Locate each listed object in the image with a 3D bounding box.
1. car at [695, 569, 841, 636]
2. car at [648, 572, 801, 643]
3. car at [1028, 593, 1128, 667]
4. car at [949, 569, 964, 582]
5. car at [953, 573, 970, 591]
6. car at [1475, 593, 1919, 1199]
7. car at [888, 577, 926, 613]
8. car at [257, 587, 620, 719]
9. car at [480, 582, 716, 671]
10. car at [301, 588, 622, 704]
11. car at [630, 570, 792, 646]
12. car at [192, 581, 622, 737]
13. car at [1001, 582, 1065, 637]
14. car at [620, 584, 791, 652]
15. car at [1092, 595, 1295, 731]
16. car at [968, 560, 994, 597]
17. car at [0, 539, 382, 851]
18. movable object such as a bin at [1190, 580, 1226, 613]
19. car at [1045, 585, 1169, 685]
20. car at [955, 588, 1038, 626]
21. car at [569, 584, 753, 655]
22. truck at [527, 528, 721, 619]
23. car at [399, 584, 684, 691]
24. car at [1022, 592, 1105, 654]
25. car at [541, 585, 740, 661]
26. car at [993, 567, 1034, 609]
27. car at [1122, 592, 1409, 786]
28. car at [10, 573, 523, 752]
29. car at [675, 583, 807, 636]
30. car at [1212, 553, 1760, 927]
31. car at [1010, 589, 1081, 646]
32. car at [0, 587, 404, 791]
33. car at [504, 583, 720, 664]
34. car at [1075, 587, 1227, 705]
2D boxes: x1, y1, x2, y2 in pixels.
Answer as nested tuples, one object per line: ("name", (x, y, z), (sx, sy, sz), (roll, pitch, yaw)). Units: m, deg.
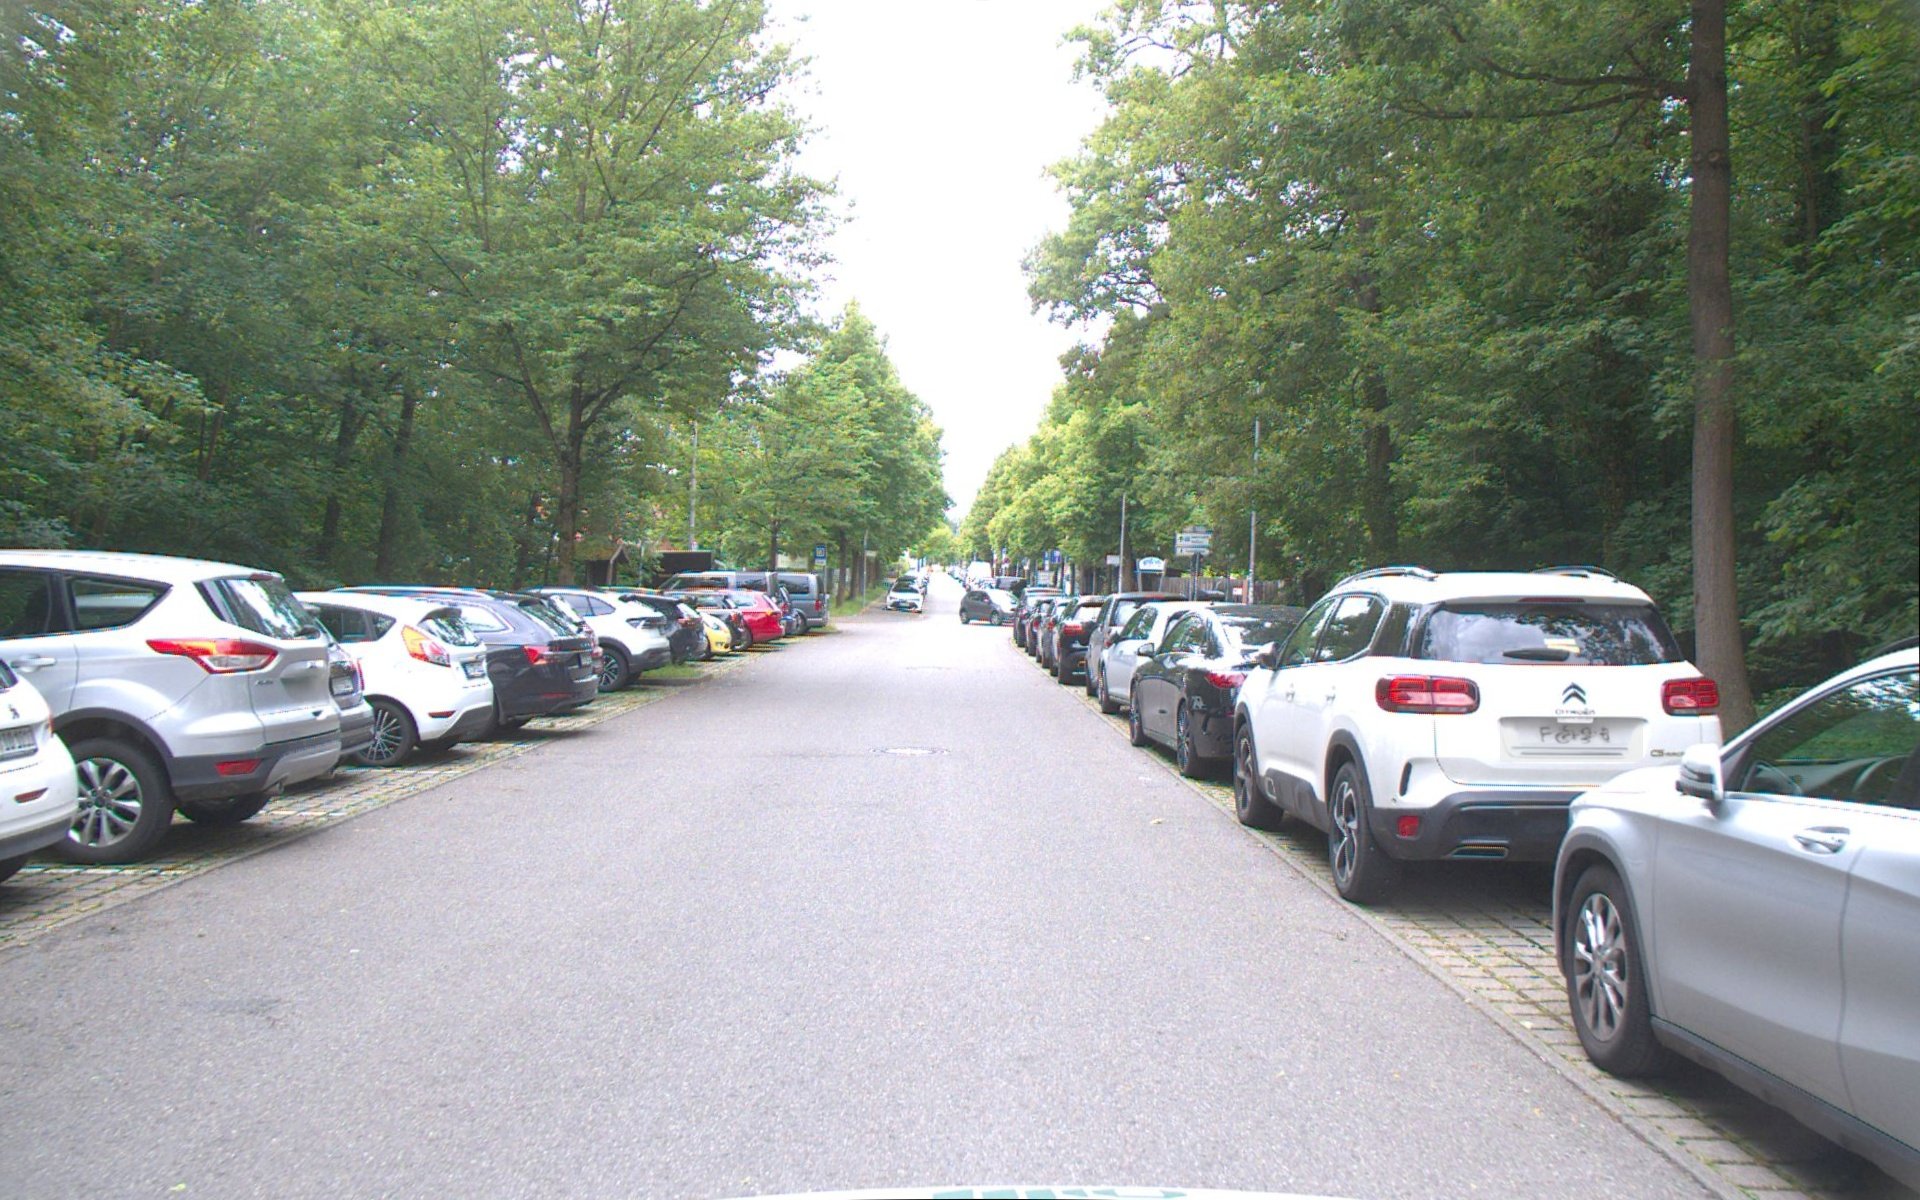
("car", (-6.064, 0.093, 52.604), (4.412, 2.013, 1.890), (1, -1, -2))
("car", (-6.397, 0.193, 45.218), (3.907, 1.796, 1.823), (2, 0, -2))
("car", (2.475, 0.595, 35.572), (1.701, 1.457, 4.501), (1, 0, -1))
("car", (-0.476, -3.555, 235.893), (1.858, 1.736, 4.065), (1, 0, 3))
("car", (0.191, -2.223, 202.454), (1.952, 2.049, 4.001), (1, 0, 3))
("car", (2.957, 0.753, 4.345), (1.701, 1.505, 4.769), (1, 0, 0))
("car", (-2.638, -0.263, 81.719), (1.730, 1.623, 4.214), (4, 1, -3))
("car", (-6.353, 0.619, 20.427), (3.905, 1.460, 1.677), (1, 0, 1))
("car", (-6.574, 0.471, 30.304), (3.906, 1.463, 1.715), (2, 0, -1))
("car", (-6.853, 0.607, 23.013), (3.905, 1.460, 1.702), (1, 0, 1))
("car", (-6.396, 0.196, 42.782), (3.906, 1.895, 1.813), (0, 0, -1))
("car", (-5.705, 0.581, 17.362), (3.905, 1.460, 1.677), (1, 0, 1))
("car", (2.286, 0.282, 52.793), (1.701, 1.662, 4.374), (1, 0, -1))
("car", (-6.175, 0.417, 40.384), (3.907, 1.501, 1.779), (2, 0, -3))
("car", (2.747, 0.691, 20.339), (1.701, 1.450, 4.152), (1, 0, -3))
("car", (1.832, -1.866, 142.133), (2.139, 3.068, 4.897), (1, 1, 1))
("car", (-5.717, 0.504, 9.847), (3.907, 1.691, 1.814), (0, 0, -2))
("movable object such as a bin", (11.245, -0.175, 74.929), (1.276, 1.468, 1.061), (2, -1, -44))
("car", (2.538, 0.560, 29.446), (1.701, 1.617, 4.381), (1, 0, -1))
("car", (1.491, 0.299, 69.052), (1.850, 1.512, 3.965), (1, 0, -27))
("car", (-6.764, 0.432, 37.739), (3.907, 1.463, 1.671), (2, 0, -3))
("truck", (-12.958, -0.987, 64.193), (7.118, 3.292, 3.431), (1, -1, -12))
("car", (-6.348, 0.552, 25.377), (3.906, 1.493, 1.714), (1, 0, -1))
("car", (2.551, 0.534, 41.665), (1.701, 1.457, 4.501), (1, 0, -1))
("car", (-6.783, 0.468, 35.351), (3.906, 1.463, 1.617), (2, 0, -1))
("car", (2.718, -0.610, 84.541), (1.947, 2.049, 4.108), (1, 1, 1))
("car", (2.661, 0.700, 15.453), (1.701, 1.500, 4.604), (1, 0, -2))
("car", (-6.160, 0.550, 14.993), (3.904, 1.461, 1.648), (1, -1, 1))
("car", (-6.653, 0.285, 50.459), (3.735, 1.539, 1.810), (0, 1, 2))
("car", (2.783, 0.623, 10.069), (1.701, 1.672, 5.072), (1, 0, 0))
("car", (2.397, 0.460, 47.225), (1.701, 1.521, 4.232), (1, 0, -1))
("car", (-6.524, 0.646, 12.675), (3.907, 1.446, 1.813), (0, -1, -2))
("car", (-6.890, 0.455, 33.028), (3.906, 1.463, 1.733), (2, 0, -1))
("car", (2.771, 0.617, 24.768), (1.701, 1.595, 4.007), (1, 0, -1))
